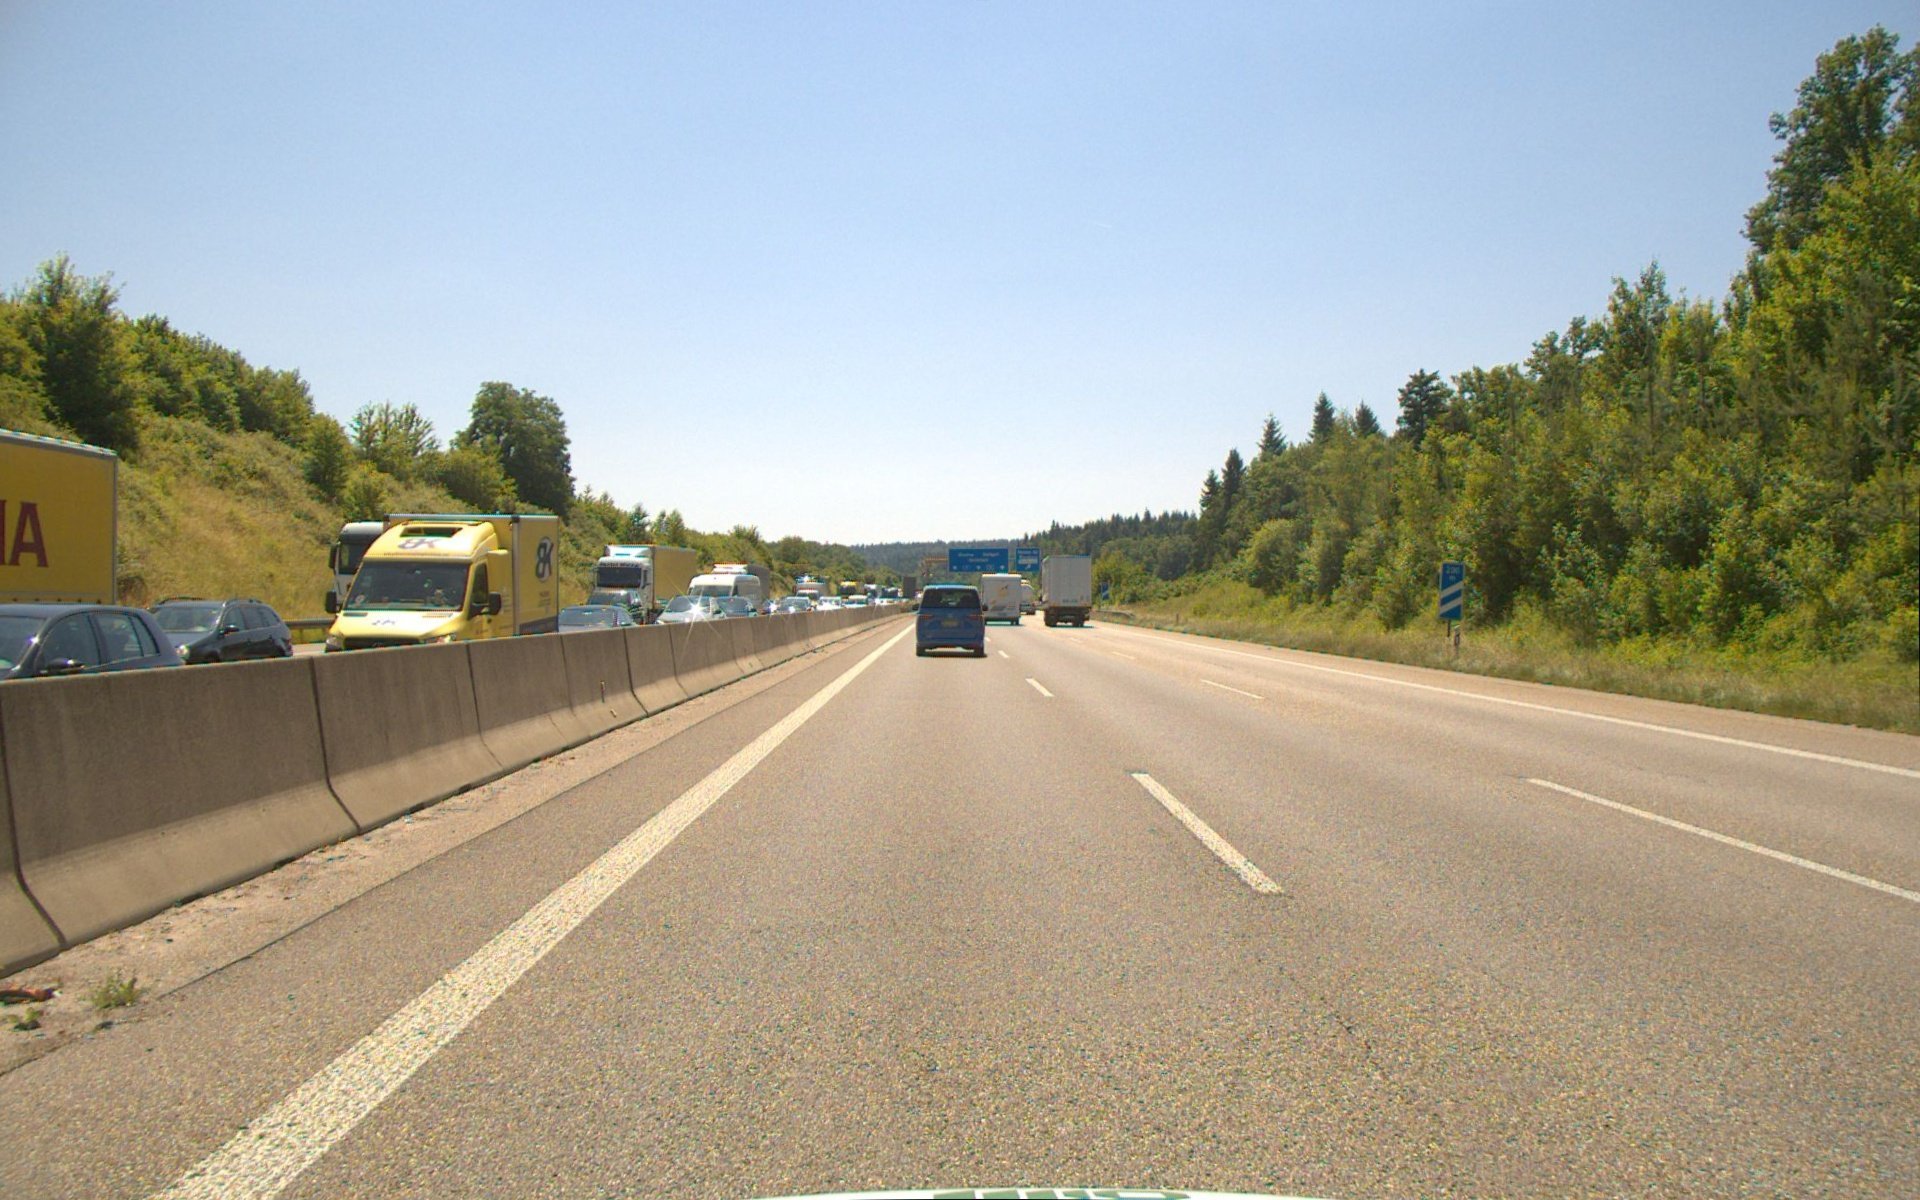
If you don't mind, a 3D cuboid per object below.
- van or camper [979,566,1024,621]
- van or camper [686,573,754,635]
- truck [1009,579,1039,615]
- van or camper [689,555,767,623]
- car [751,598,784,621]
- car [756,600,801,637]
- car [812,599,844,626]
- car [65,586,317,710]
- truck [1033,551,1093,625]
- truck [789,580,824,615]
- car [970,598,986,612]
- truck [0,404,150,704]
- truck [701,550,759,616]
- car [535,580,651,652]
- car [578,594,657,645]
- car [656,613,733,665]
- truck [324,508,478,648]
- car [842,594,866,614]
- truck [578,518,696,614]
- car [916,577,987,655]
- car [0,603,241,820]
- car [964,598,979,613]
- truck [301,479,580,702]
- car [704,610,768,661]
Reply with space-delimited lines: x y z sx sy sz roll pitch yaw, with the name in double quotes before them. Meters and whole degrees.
"van or camper" 2.515 -0.455 101.933 2.549 3.132 7.184 1 2 0
"van or camper" -12.192 0.242 84.426 2.151 2.991 7.535 1 -1 1
"truck" 6.693 -0.346 174.338 2.867 3.637 8.527 -1 0 1
"van or camper" -10.207 -0.423 73.434 2.205 2.824 7.218 1 -1 2
"car" -13.034 0.629 112.326 1.791 1.519 4.989 0 0 -1
"car" -9.132 0.941 83.557 1.791 1.795 4.989 1 -1 -1
"car" -8.901 0.843 111.802 1.791 1.795 4.989 1 -1 -1
"car" -12.254 0.727 26.772 1.791 1.795 4.989 1 -1 -1
"truck" 6.140 -0.639 99.748 2.727 4.201 9.736 1 -1 -2
"truck" -13.187 -0.159 142.724 2.517 2.895 6.750 1 -1 -1
"car" 1.972 0.588 183.534 1.744 1.512 3.999 0 0 -1
"truck" -16.287 -0.769 20.978 3.621 4.534 17.377 1 -1 -1
"truck" -16.814 -1.174 121.595 2.881 4.595 8.605 1 -1 1
"car" -8.437 0.376 38.370 1.791 1.523 4.756 1 -1 -3
"car" -12.466 0.702 60.467 1.957 1.758 4.758 1 -1 -1
"car" -8.266 1.190 51.847 1.791 1.523 4.756 1 -1 -3
"truck" -16.202 -0.571 48.352 2.625 3.809 5.869 1 -1 -3
"car" -9.118 0.348 142.336 1.791 1.592 5.109 1 -1 -1
"truck" -16.887 -1.561 88.014 3.622 4.534 16.665 1 -1 -3
"car" -0.255 0.401 45.825 1.870 2.049 3.999 1 0 -1
"car" -7.712 0.787 13.448 1.791 1.523 4.756 1 -1 -3
"car" 1.465 0.693 209.939 1.740 1.803 3.999 0 0 -1
"truck" -8.014 -0.096 26.449 2.221 3.069 6.776 1 -1 0
"car" -8.395 1.314 62.302 1.791 1.795 4.989 1 -1 -1
